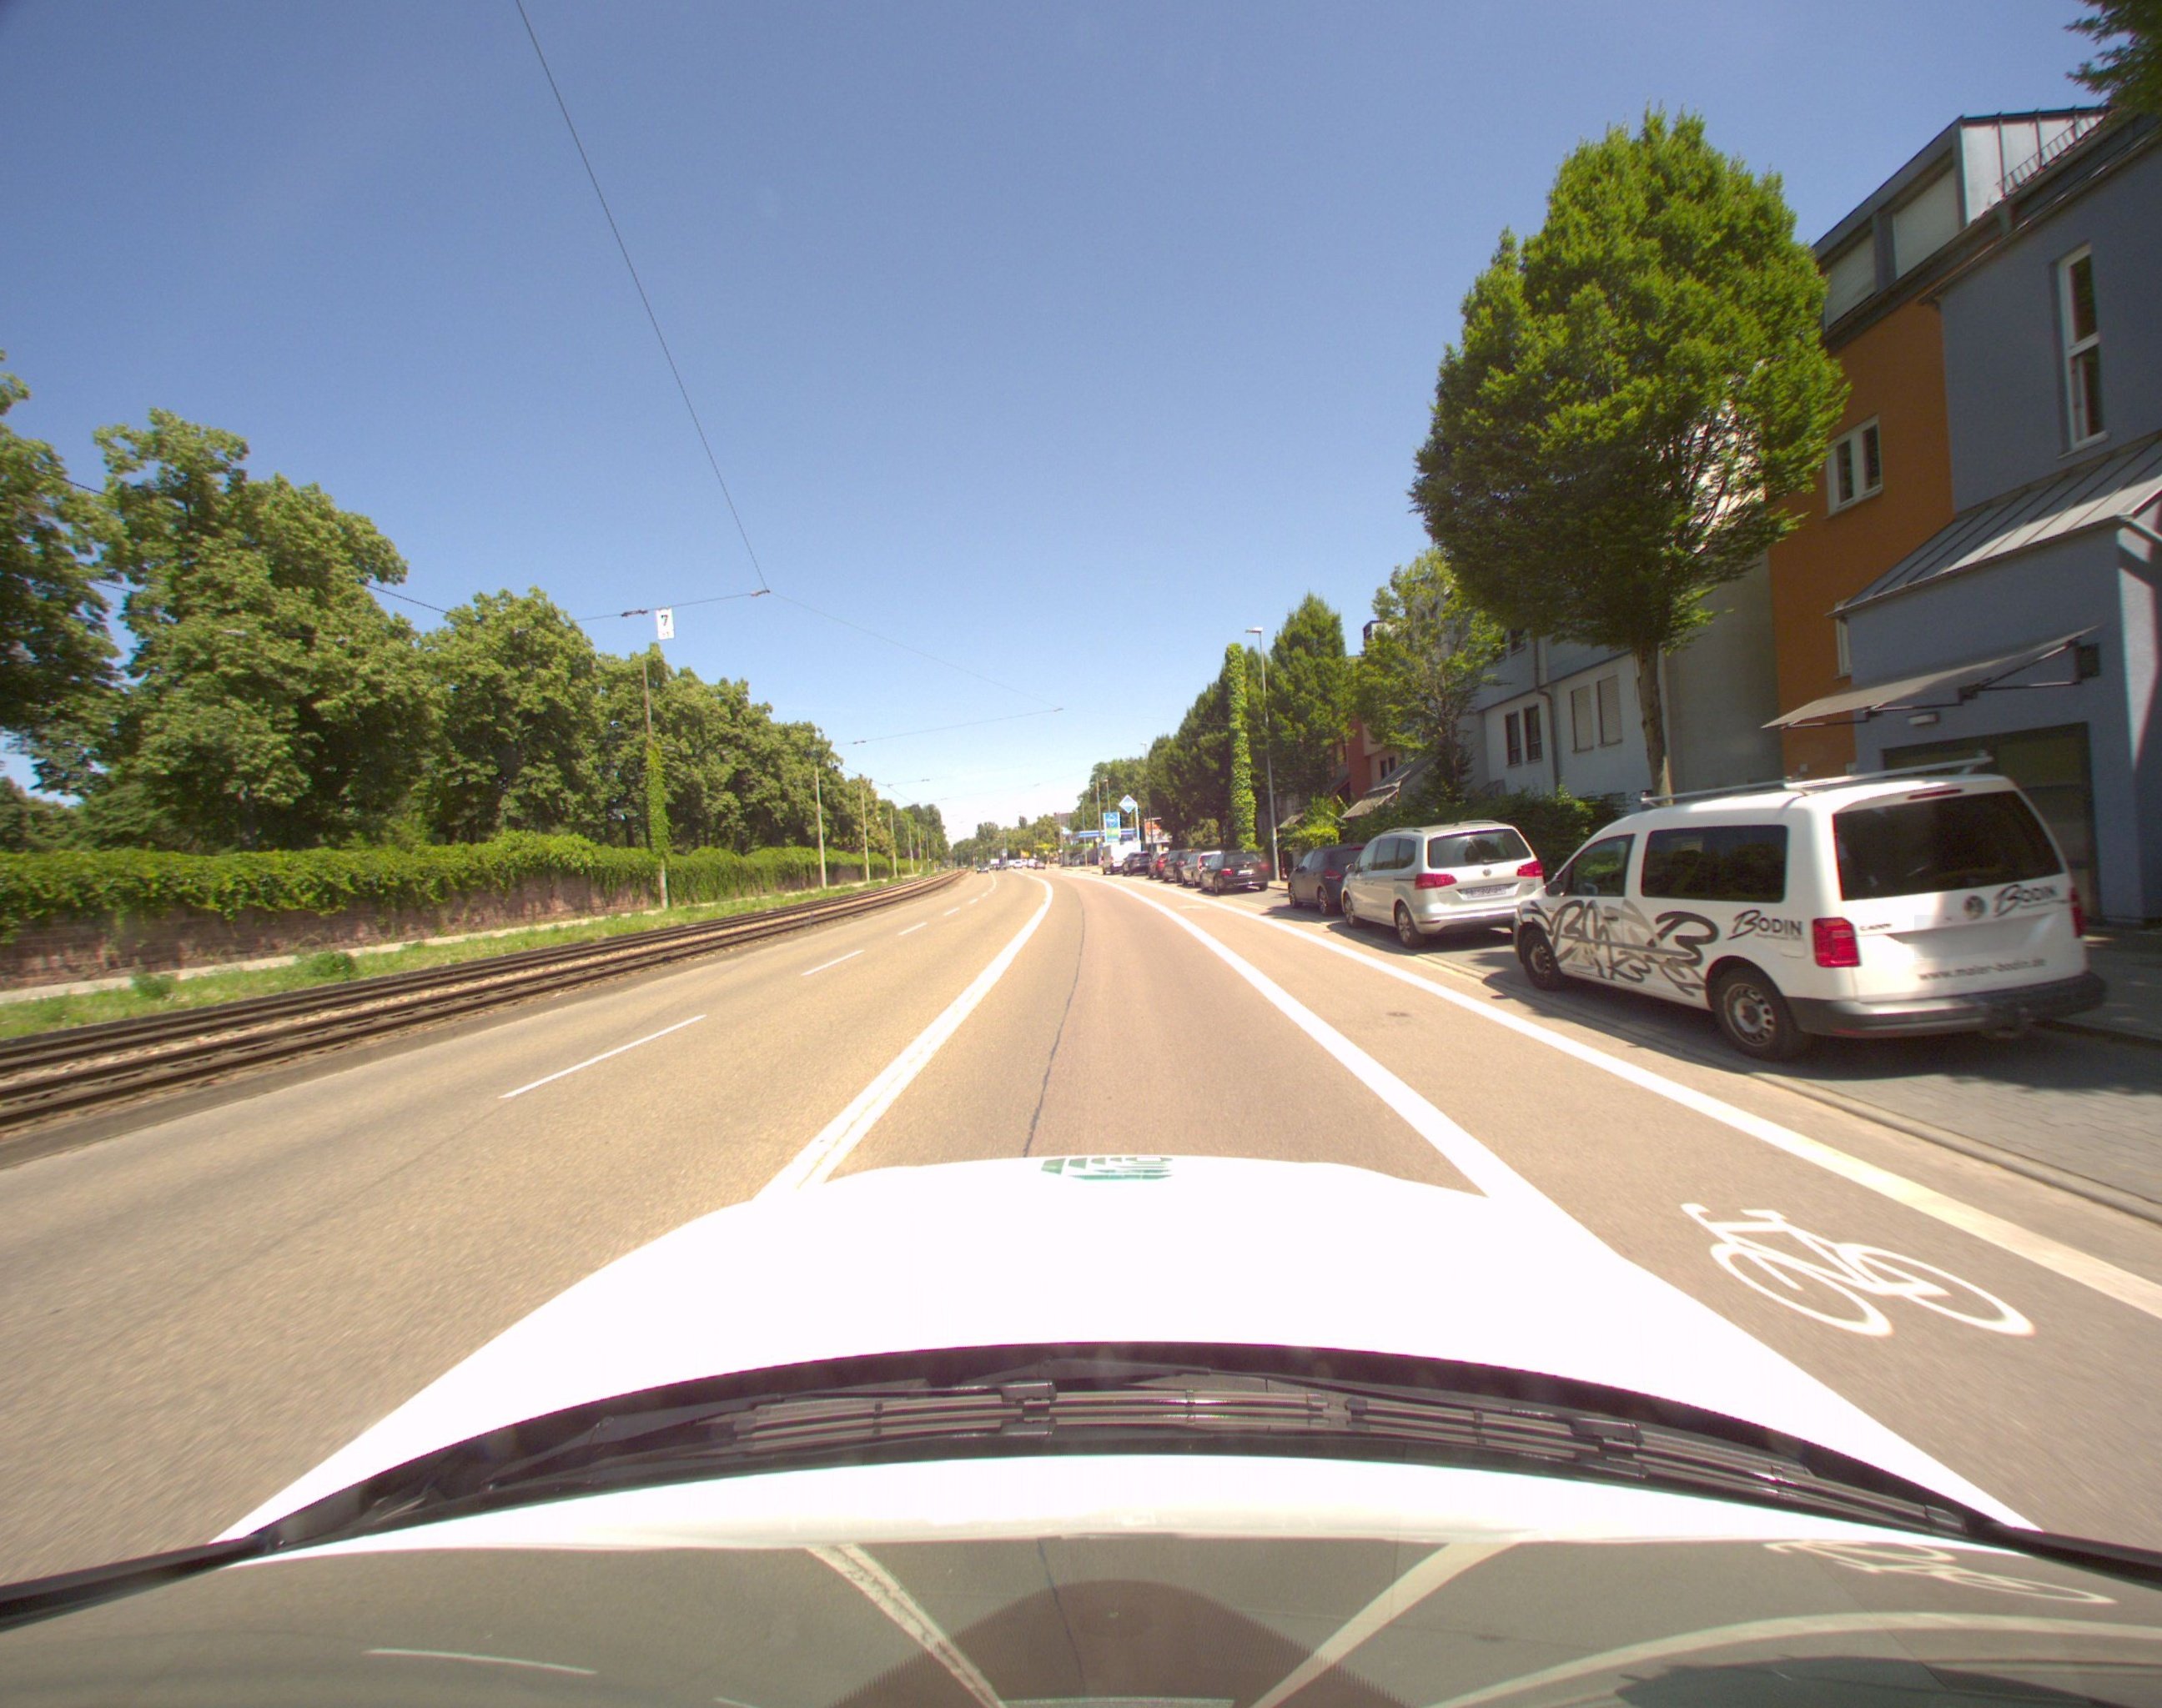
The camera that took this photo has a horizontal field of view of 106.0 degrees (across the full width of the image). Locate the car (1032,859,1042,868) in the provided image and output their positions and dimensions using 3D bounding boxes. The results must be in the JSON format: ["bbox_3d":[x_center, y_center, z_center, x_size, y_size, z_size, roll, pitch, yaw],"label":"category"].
[{"bbox_3d":[-8.745,1.946,161.451,1.753,1.630,4.316,-6,0,-5],"label":"car"}]

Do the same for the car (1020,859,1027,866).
[{"bbox_3d":[-16.897,2.504,239.500,1.754,1.630,4.314,-6,0,-7],"label":"car"}]

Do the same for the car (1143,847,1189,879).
[{"bbox_3d":[4.859,0.512,47.195,1.704,1.562,4.316,-6,0,-5],"label":"car"}]

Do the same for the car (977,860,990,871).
[{"bbox_3d":[-14.983,1.775,125.216,1.754,1.509,4.314,-6,0,-7],"label":"car"}]

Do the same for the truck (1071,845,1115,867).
[{"bbox_3d":[2.246,0.391,151.483,7.944,3.602,2.662,-4,0,-1],"label":"truck"}]

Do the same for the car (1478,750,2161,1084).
[{"bbox_3d":[5.422,0.362,6.986,1.834,1.793,4.354,-6,0,1],"label":"car"}]

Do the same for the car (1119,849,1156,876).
[{"bbox_3d":[3.916,0.570,57.212,1.754,1.630,4.314,-6,0,-7],"label":"car"}]

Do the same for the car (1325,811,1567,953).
[{"bbox_3d":[5.550,0.352,13.182,1.833,1.694,4.782,-6,0,3],"label":"car"}]

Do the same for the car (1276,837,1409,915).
[{"bbox_3d":[5.786,0.444,18.546,1.579,1.423,4.179,-6,0,0],"label":"car"}]

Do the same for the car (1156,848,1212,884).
[{"bbox_3d":[5.127,0.579,41.264,1.705,1.562,4.313,-6,0,-7],"label":"car"}]

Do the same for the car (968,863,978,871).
[{"bbox_3d":[-24.869,3.012,187.584,1.757,1.630,4.306,-6,0,-12],"label":"car"}]

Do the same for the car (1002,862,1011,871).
[{"bbox_3d":[-15.872,2.661,173.518,1.753,1.630,4.316,-6,0,-5],"label":"car"}]

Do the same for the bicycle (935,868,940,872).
[{"bbox_3d":[-35.671,4.016,202.618,0.679,1.054,2.008,-8,-1,0],"label":"bicycle"}]

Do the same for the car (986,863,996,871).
[{"bbox_3d":[-19.802,2.824,178.813,1.757,1.630,4.306,-6,0,-12],"label":"car"}]

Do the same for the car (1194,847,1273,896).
[{"bbox_3d":[5.505,0.592,30.059,1.702,1.492,5.035,-6,0,-1],"label":"car"}]

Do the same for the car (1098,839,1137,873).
[{"bbox_3d":[2.966,0.206,67.372,2.000,2.456,6.093,-6,0,-7],"label":"car"}]

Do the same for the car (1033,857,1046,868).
[{"bbox_3d":[-7.008,1.480,138.026,1.754,1.630,4.314,-6,0,-7],"label":"car"}]

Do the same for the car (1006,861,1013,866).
[{"bbox_3d":[-22.500,3.011,256.763,1.754,1.630,4.314,-6,0,-7],"label":"car"}]

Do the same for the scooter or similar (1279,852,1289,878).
[{"bbox_3d":[8.039,0.430,32.265,0.331,1.031,1.086,-1,-1,13],"label":"scooter or similar"}]

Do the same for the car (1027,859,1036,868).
[{"bbox_3d":[-10.818,2.053,177.489,1.754,1.630,4.314,-6,0,-7],"label":"car"}]

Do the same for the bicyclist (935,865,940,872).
[{"bbox_3d":[-35.721,3.651,202.631,0.679,1.574,0.795,-8,-1,0],"label":"bicyclist"}]

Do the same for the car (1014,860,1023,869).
[{"bbox_3d":[-13.482,2.252,176.133,1.754,1.875,4.314,-3,0,-7],"label":"car"}]

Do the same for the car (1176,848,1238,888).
[{"bbox_3d":[5.462,0.574,35.819,1.703,1.492,4.727,-6,0,-2],"label":"car"}]

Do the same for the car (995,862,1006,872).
[{"bbox_3d":[-15.017,2.472,151.817,1.754,1.630,4.314,-6,0,-7],"label":"car"}]
